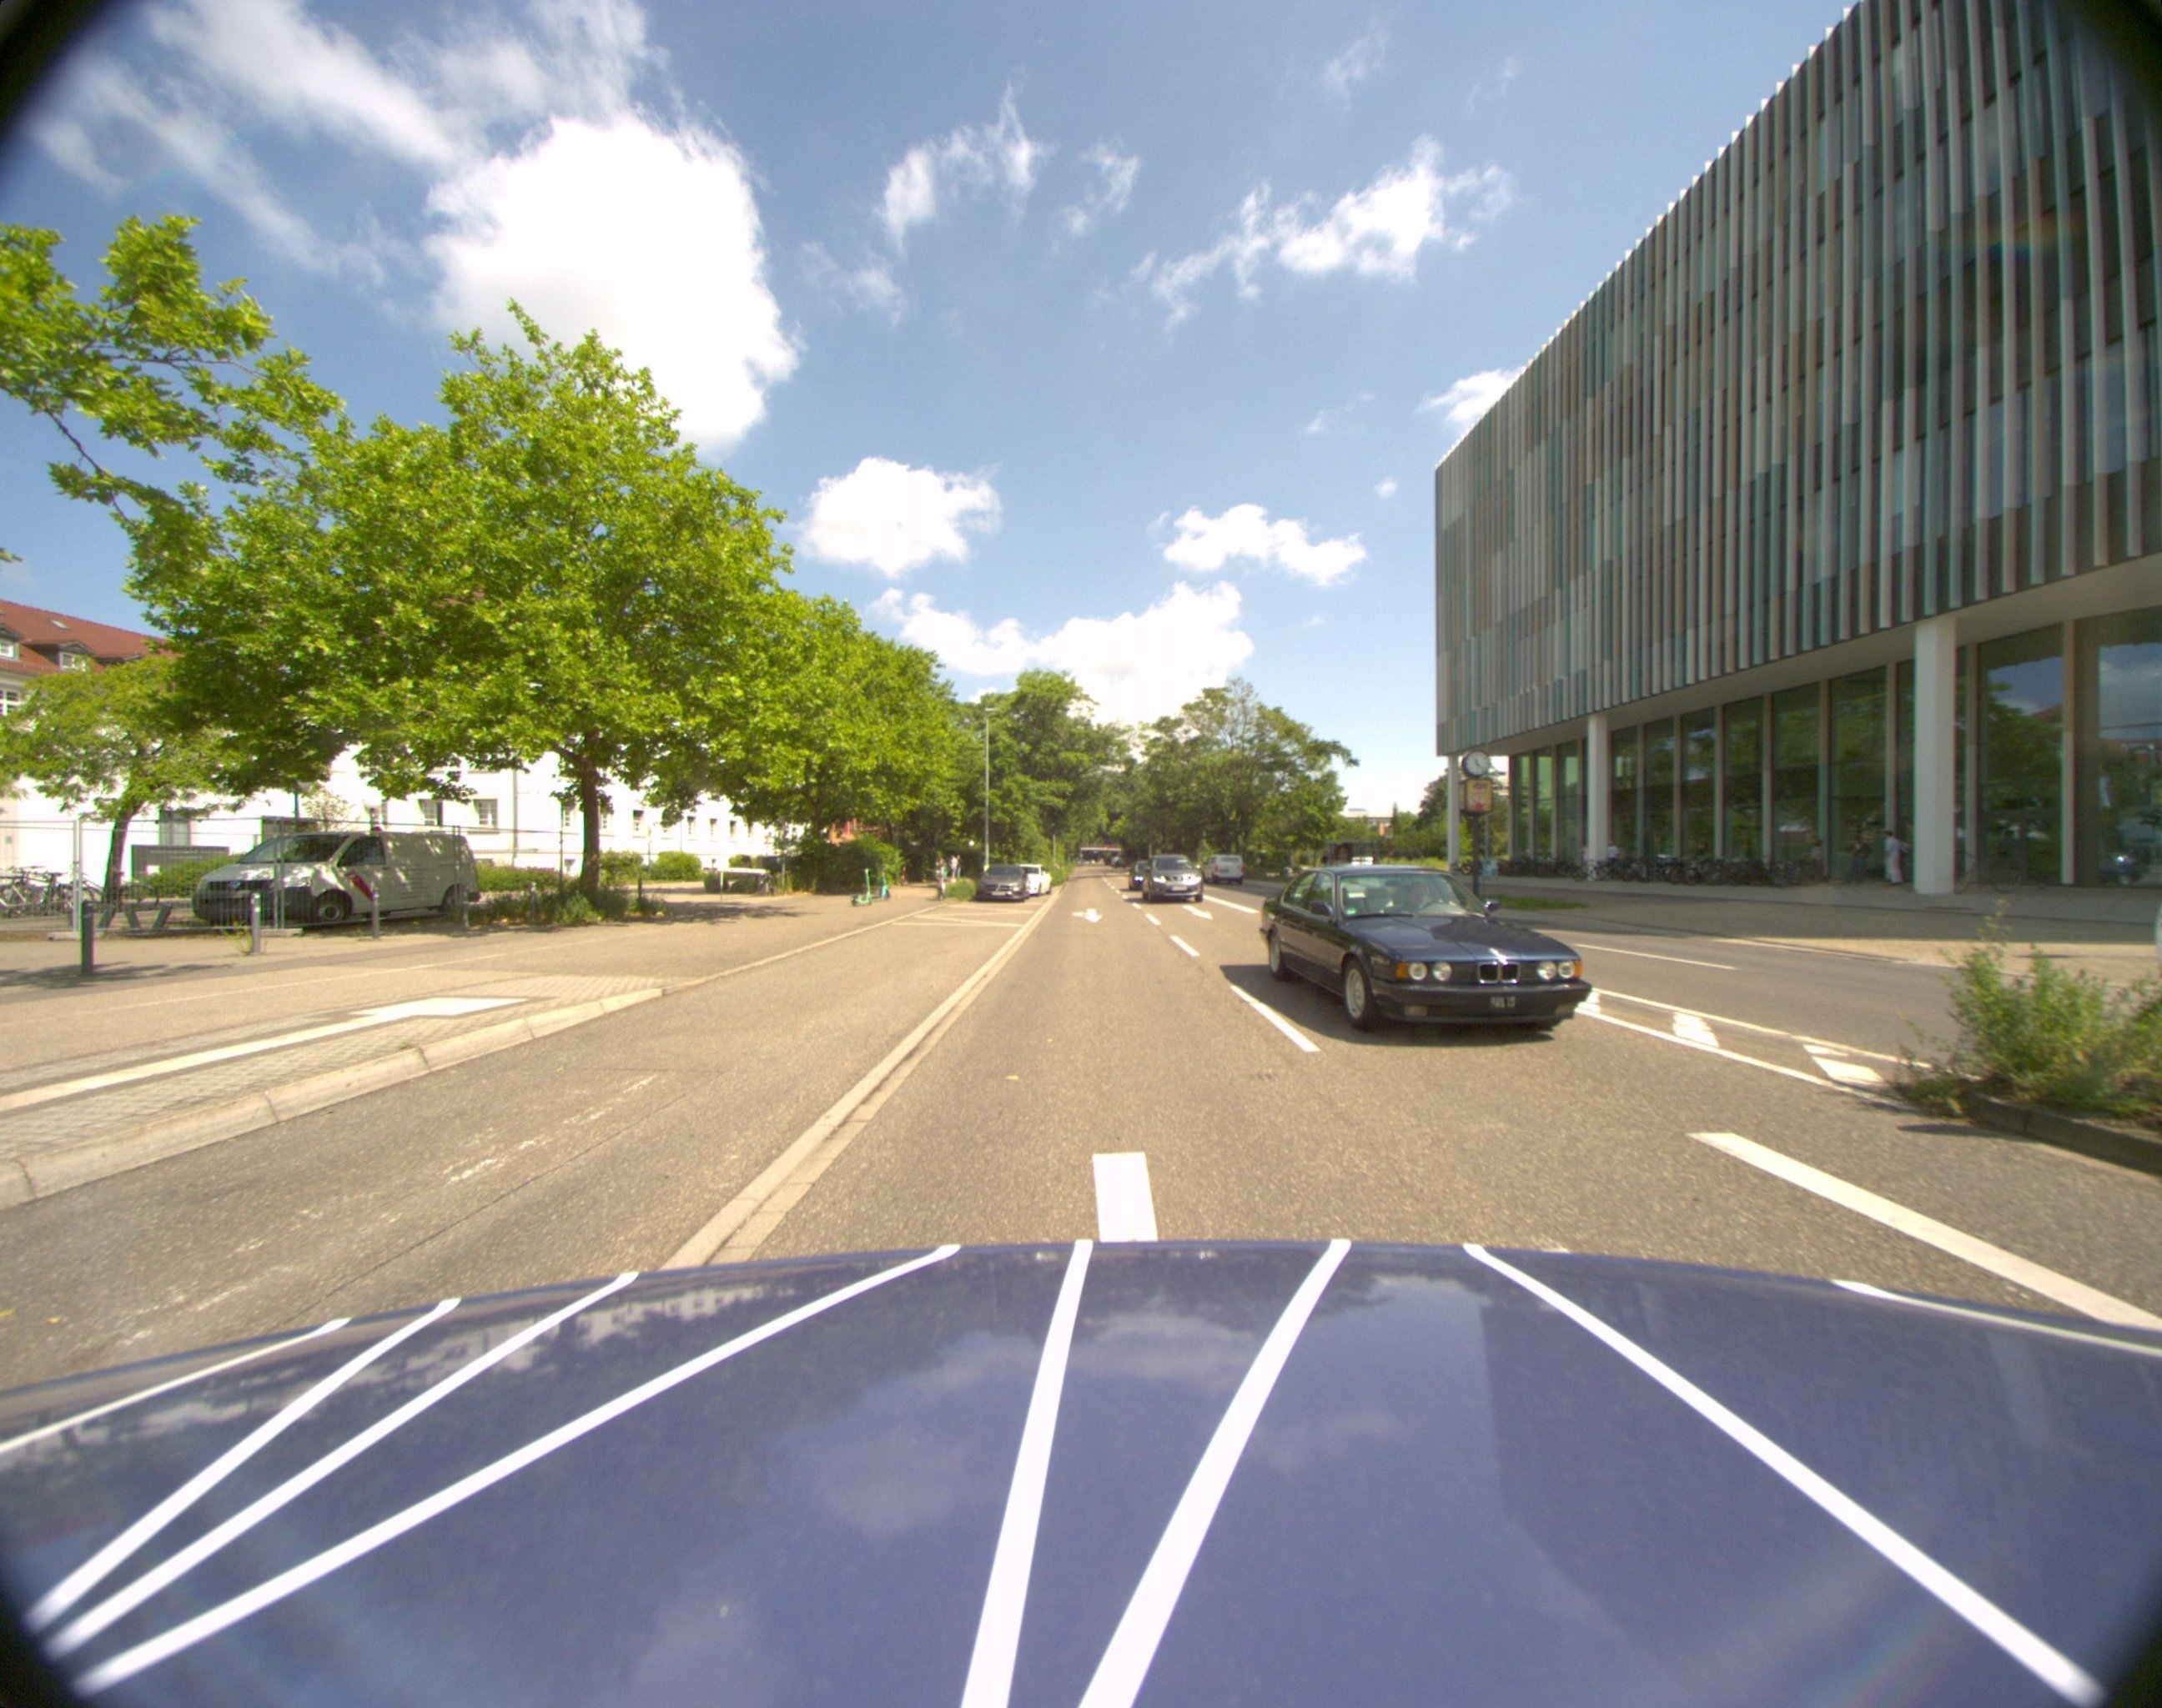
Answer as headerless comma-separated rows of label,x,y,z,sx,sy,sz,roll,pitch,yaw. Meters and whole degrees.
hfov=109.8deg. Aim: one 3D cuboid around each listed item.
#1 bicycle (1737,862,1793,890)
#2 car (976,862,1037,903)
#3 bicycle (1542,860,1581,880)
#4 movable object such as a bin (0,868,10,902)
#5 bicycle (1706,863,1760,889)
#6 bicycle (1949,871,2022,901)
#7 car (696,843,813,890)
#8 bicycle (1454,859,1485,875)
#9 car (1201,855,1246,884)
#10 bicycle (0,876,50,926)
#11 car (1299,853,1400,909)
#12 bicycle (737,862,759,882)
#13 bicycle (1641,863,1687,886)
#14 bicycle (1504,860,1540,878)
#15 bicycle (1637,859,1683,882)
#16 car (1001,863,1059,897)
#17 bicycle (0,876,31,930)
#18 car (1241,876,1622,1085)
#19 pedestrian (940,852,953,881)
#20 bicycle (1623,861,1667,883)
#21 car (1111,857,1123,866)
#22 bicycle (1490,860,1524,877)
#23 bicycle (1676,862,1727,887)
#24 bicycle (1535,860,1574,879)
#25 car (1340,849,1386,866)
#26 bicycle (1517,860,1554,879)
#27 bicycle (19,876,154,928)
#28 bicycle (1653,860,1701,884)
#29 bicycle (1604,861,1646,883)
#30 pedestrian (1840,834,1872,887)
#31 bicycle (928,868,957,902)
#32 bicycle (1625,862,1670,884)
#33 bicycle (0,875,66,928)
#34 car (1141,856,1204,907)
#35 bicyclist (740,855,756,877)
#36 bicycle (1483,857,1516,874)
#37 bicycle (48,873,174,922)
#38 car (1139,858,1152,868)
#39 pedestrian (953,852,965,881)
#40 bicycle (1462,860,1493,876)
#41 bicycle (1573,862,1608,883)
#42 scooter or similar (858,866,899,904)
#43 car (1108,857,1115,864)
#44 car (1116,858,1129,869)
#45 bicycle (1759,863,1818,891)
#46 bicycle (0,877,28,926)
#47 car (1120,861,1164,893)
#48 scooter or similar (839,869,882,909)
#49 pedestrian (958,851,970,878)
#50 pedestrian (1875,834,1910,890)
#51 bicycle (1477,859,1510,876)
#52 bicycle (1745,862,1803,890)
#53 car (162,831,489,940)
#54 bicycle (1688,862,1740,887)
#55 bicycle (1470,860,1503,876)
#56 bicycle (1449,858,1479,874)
bicycle,25.344,0.816,28.170,1.543,0.950,0.374,-2,0,15
car,-2.881,1.077,30.220,1.861,1.470,4.942,1,-1,1
bicycle,25.338,0.842,40.069,1.784,0.950,0.433,-2,0,0
movable object such as a bin,-33.978,0.972,23.775,0.389,1.049,0.368,1,1,-5
bicycle,25.175,0.842,29.360,1.543,0.950,0.374,-2,0,15
bicycle,25.753,0.910,21.649,1.545,0.771,0.373,-2,0,4
car,-13.754,0.510,32.201,3.998,1.772,1.999,-2,0,-3
bicycle,25.324,0.841,49.492,1.784,0.950,0.433,-2,0,0
car,9.288,1.000,49.927,1.903,1.800,4.731,1,-1,-2
bicycle,-25.139,1.101,17.343,1.770,1.092,0.591,-2,1,-31
car,9.387,0.896,26.997,1.729,1.800,4.731,1,0,-2
bicycle,-19.895,1.072,45.416,0.607,1.131,1.587,1,0,-1
bicycle,24.993,0.873,32.580,1.543,0.950,0.374,-2,0,15
bicycle,25.295,0.849,43.560,1.784,0.950,0.433,-2,0,0
bicycle,25.207,0.710,33.094,1.543,0.950,0.374,-2,0,15
car,-2.312,1.160,35.485,1.741,1.442,4.945,1,-1,7
bicycle,-22.821,1.025,15.338,1.770,1.092,0.602,-2,1,-30
car,3.073,0.994,7.891,1.696,1.378,4.613,-1,0,-2
pedestrian,-8.428,0.786,47.708,0.684,1.770,0.790,-2,1,-13
bicycle,25.331,0.800,34.134,1.543,0.950,0.374,-2,0,15
car,6.813,1.441,142.917,1.897,1.502,3.829,-2,0,6
bicycle,25.201,0.875,44.941,1.784,0.950,0.433,-2,0,0
bicycle,24.949,0.810,30.577,1.543,0.950,0.374,-2,0,15
bicycle,25.689,0.835,41.227,1.784,0.950,0.433,-2,0,0
car,27.337,0.330,73.717,3.824,1.502,1.900,-2,0,6
bicycle,25.436,0.866,42.527,1.784,0.950,0.433,-2,0,0
bicycle,-23.081,1.093,17.678,1.770,1.092,0.602,-2,1,-31
bicycle,24.973,0.773,31.829,1.543,0.950,0.374,-2,0,15
bicycle,25.320,0.838,35.358,1.543,0.950,0.374,-2,0,15
pedestrian,27.495,0.230,26.974,0.562,1.831,0.554,-1,1,-7
bicycle,-5.122,1.137,28.226,0.639,1.183,2.119,1,-1,0
bicycle,25.152,0.851,33.746,1.543,0.950,0.374,-2,0,15
bicycle,-23.311,1.040,16.264,1.770,1.092,0.602,-2,1,-30
car,3.194,0.925,27.324,1.823,1.669,4.479,-1,0,2
bicyclist,-19.888,0.698,45.405,0.607,1.313,0.742,1,1,-1
bicycle,25.342,0.687,46.021,1.784,0.950,0.433,-2,0,0
bicycle,-23.848,1.050,18.729,1.770,1.092,0.602,-2,1,-31
car,10.258,1.394,120.759,1.897,1.502,3.829,-2,0,6
pedestrian,-7.683,0.762,47.776,0.684,1.770,0.790,-2,1,-12
bicycle,25.276,0.901,48.438,1.784,0.950,0.433,-2,0,0
bicycle,24.276,0.874,36.199,1.547,0.950,0.373,-2,1,-11
scooter or similar,-6.880,1.038,25.901,0.528,1.239,1.292,1,0,34
car,7.486,1.629,188.441,1.756,1.502,3.828,-2,0,2
car,6.635,1.521,121.791,1.897,1.502,3.829,-2,0,6
bicycle,25.067,0.807,26.936,1.543,0.950,0.374,-2,0,15
bicycle,-24.864,1.093,16.790,1.770,1.092,0.515,-2,1,-31
car,3.080,1.111,37.740,1.828,1.407,4.194,-2,0,9
scooter or similar,-6.773,1.052,23.452,0.529,1.162,1.577,1,0,14
pedestrian,-7.785,0.700,50.413,0.684,1.770,0.790,-2,1,-7
pedestrian,27.075,0.250,25.349,0.562,1.831,0.554,-1,1,-7
bicycle,25.335,0.822,46.634,1.784,0.950,0.433,-2,0,0
bicycle,25.098,0.804,27.533,1.543,0.950,0.374,-2,0,15
car,-15.033,0.539,15.658,1.903,1.854,4.940,-1,0,-2
bicycle,24.929,0.813,29.924,1.543,0.950,0.374,-2,0,15
bicycle,25.310,0.890,47.433,1.784,0.950,0.433,-2,0,0
bicycle,25.307,0.798,50.193,1.784,0.950,0.433,-2,0,0
